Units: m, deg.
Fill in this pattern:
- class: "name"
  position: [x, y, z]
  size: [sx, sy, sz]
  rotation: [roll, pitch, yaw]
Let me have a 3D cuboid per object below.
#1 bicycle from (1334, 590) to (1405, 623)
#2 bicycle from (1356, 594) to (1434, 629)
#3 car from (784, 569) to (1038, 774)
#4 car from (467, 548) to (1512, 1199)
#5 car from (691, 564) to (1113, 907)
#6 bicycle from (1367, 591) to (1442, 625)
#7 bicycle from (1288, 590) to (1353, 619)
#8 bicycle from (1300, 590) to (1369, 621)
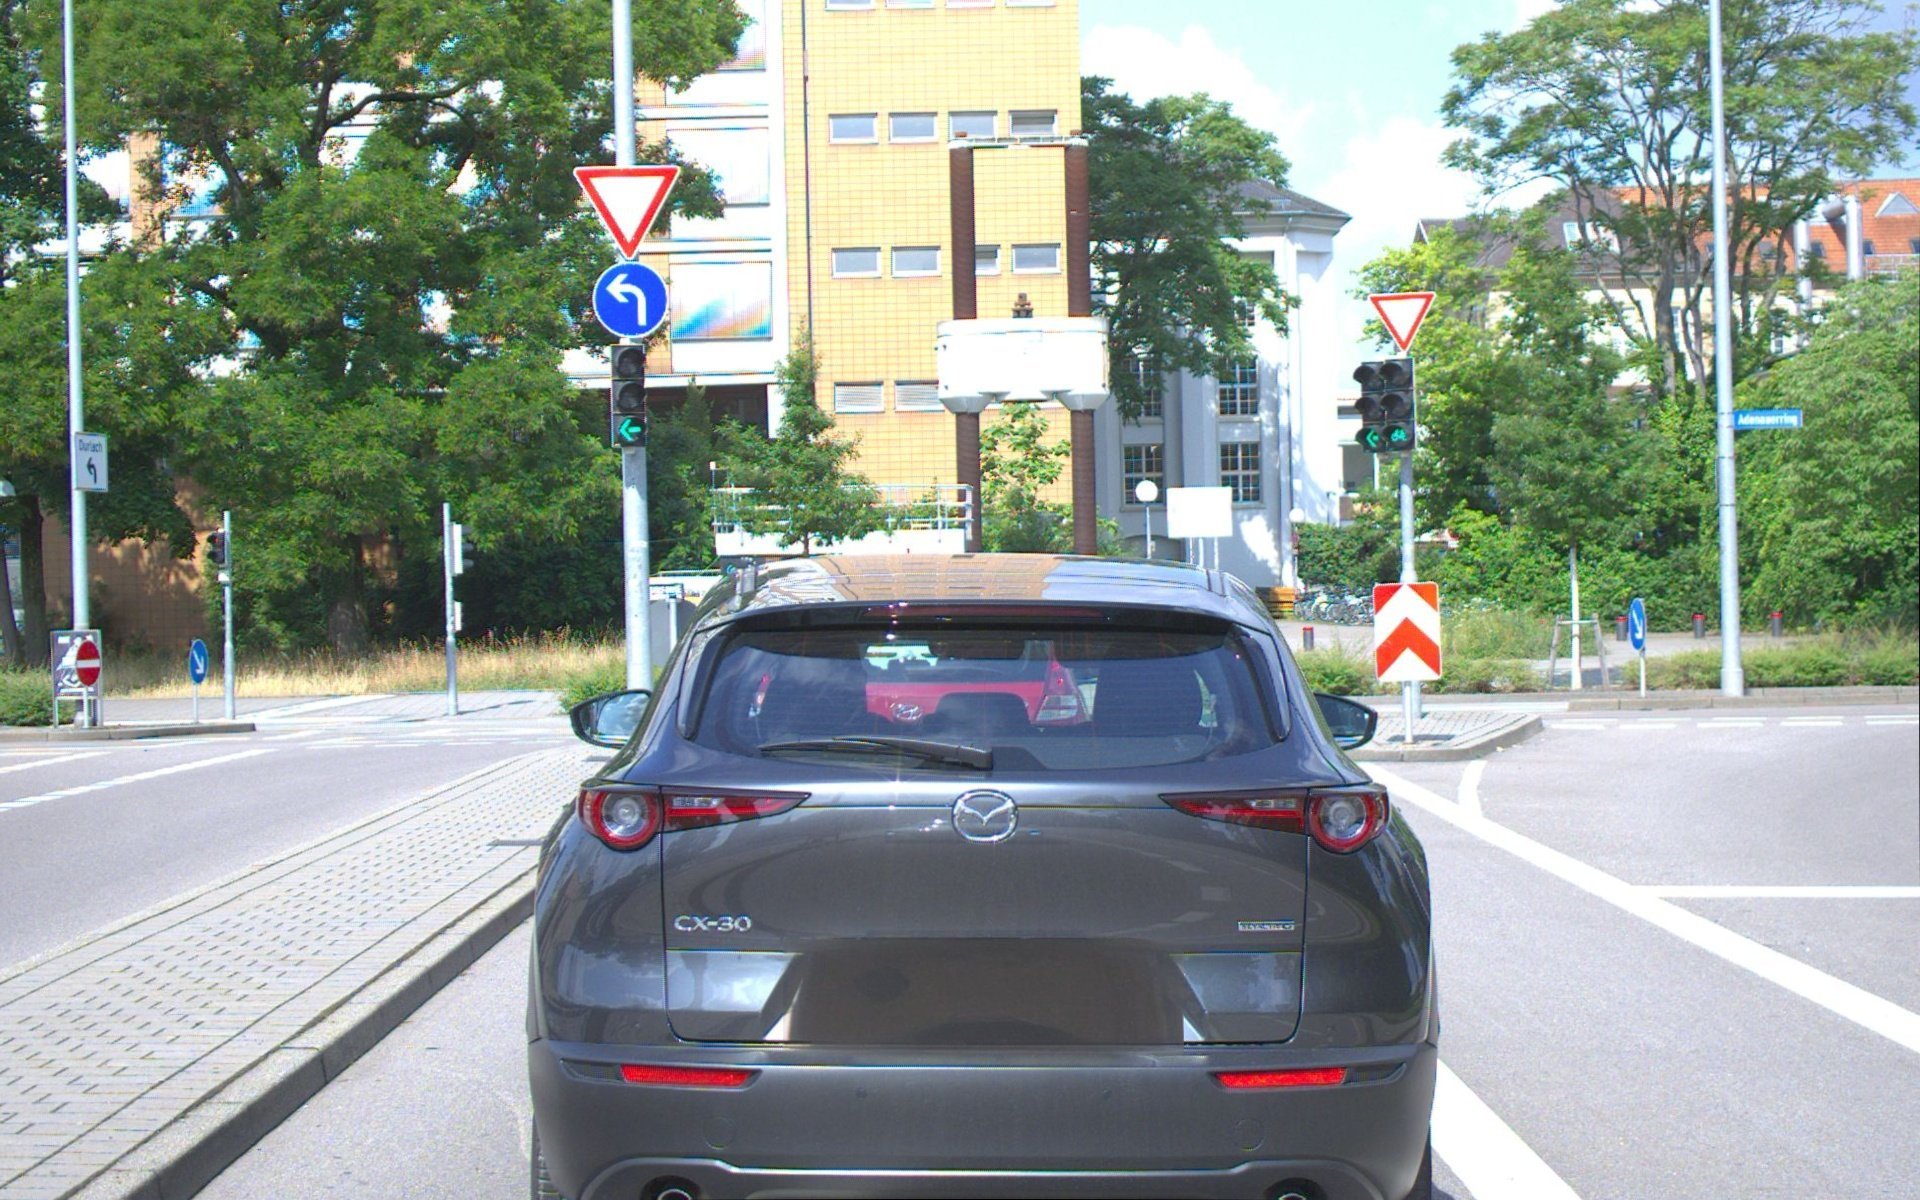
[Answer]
- class: "bicycle"
  position: [12.480, 0.198, 104.797]
  size: [2.055, 0.933, 0.804]
  rotation: [-1, 0, -1]
- class: "bicycle"
  position: [12.316, 0.323, 97.362]
  size: [2.055, 0.933, 0.804]
  rotation: [-1, 0, -1]
- class: "car"
  position: [-0.340, 0.520, 27.647]
  size: [1.848, 1.467, 4.335]
  rotation: [-2, 0, 1]
- class: "car"
  position: [0.024, 0.664, 8.122]
  size: [1.806, 1.503, 4.205]
  rotation: [1, 0, -1]
- class: "car"
  position: [-0.182, 0.564, 16.941]
  size: [1.816, 1.434, 4.067]
  rotation: [1, 1, 2]
- class: "bicycle"
  position: [12.940, 0.225, 100.170]
  size: [2.055, 0.933, 0.804]
  rotation: [-1, 0, -1]
- class: "bicycle"
  position: [11.992, 0.150, 114.415]
  size: [2.055, 0.933, 0.804]
  rotation: [-1, 0, -1]
- class: "bicycle"
  position: [11.934, 0.171, 109.555]
  size: [2.055, 0.933, 0.804]
  rotation: [-1, 0, -1]
